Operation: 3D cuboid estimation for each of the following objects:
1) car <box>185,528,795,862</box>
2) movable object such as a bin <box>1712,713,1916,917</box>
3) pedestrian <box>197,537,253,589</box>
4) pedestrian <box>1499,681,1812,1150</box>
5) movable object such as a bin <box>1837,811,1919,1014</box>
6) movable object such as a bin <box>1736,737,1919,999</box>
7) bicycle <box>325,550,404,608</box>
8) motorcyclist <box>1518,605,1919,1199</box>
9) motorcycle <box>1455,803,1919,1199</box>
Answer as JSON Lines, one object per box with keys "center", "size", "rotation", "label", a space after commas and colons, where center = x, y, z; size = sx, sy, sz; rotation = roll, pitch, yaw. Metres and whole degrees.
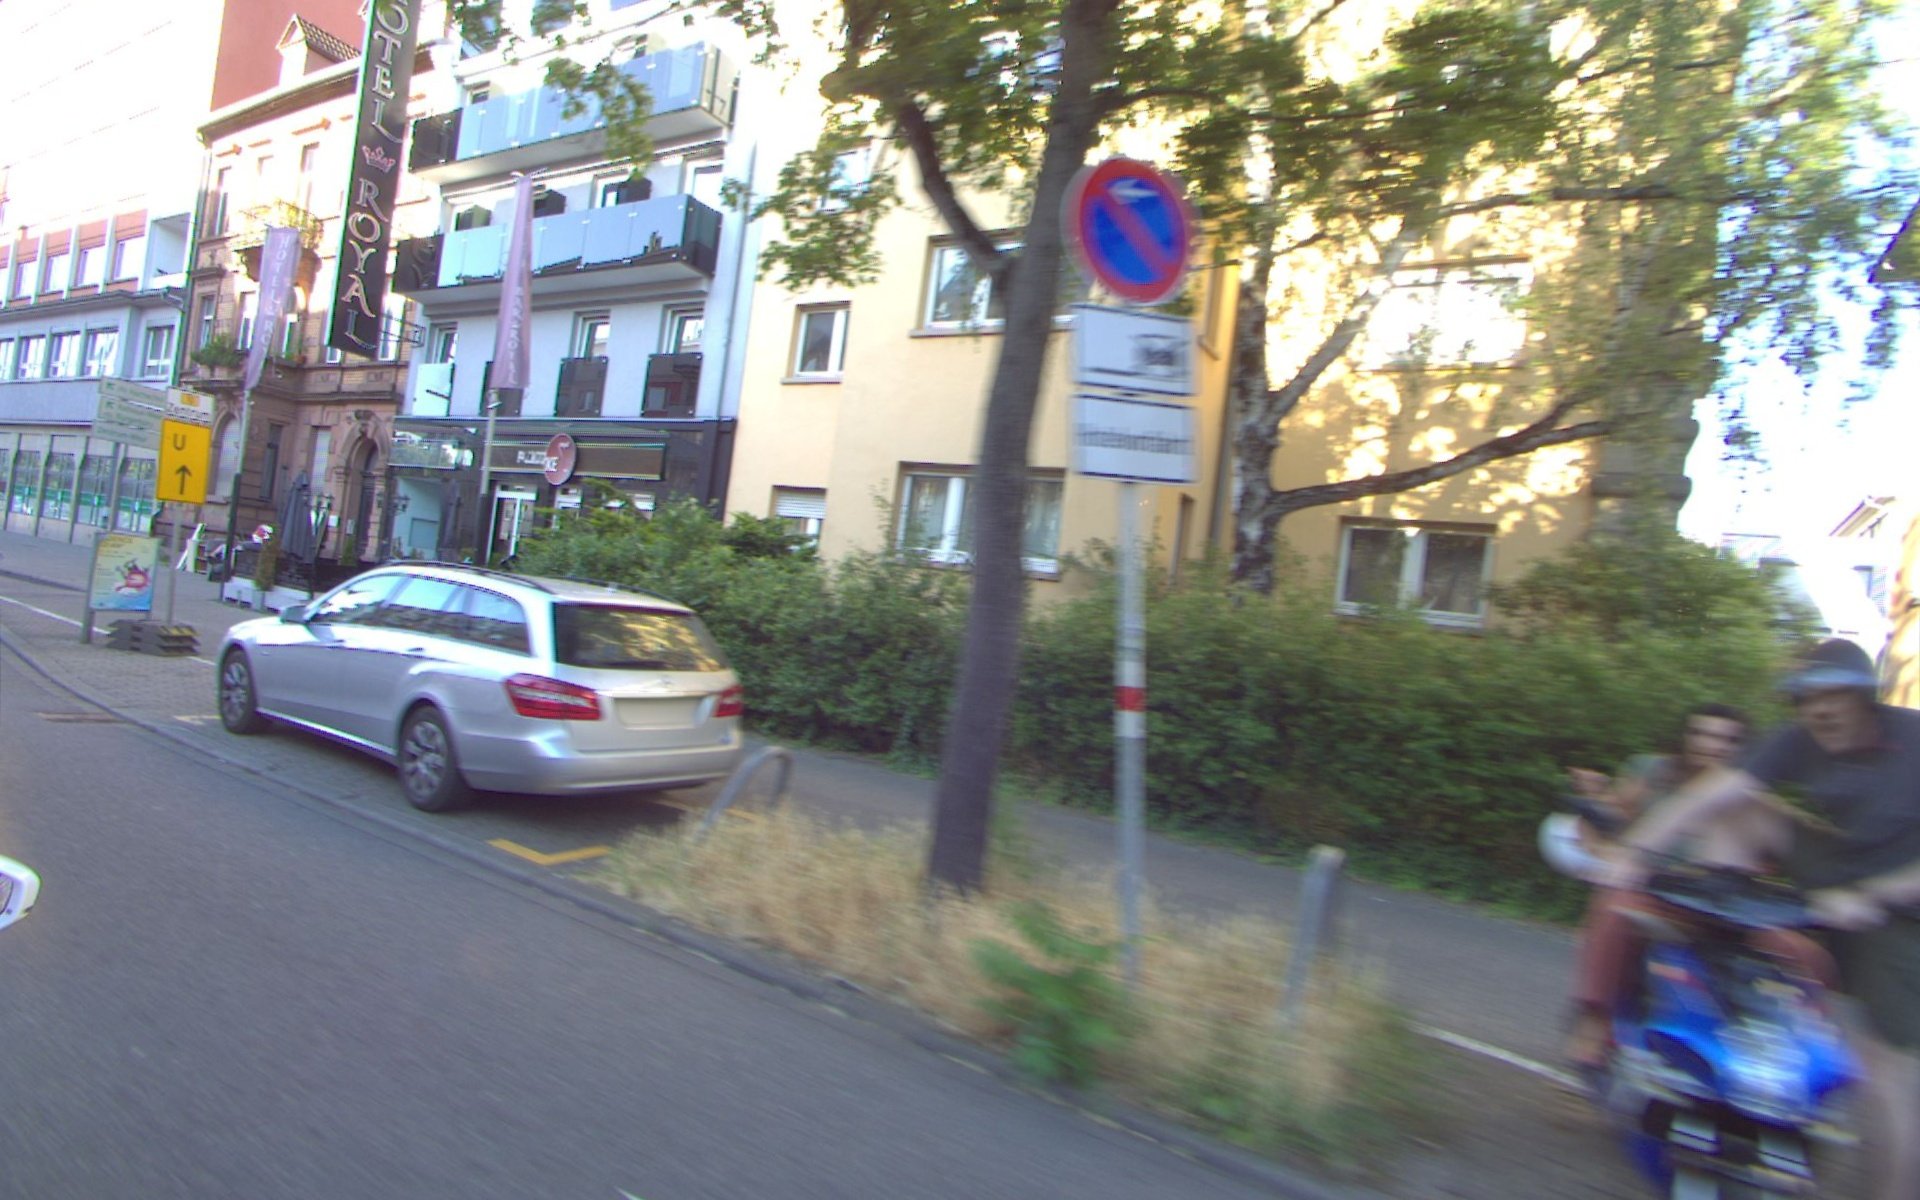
{"center": [-3.689, 0.487, 7.528], "size": [4.757, 1.531, 1.857], "rotation": [7, 0, 34], "label": "car"}
{"center": [7.872, 1.929, 9.357], "size": [0.976, 1.574, 1.158], "rotation": [7, 0, 22], "label": "movable object such as a bin"}
{"center": [-17.093, -0.869, 23.399], "size": [0.930, 1.056, 0.691], "rotation": [7, -1, 35], "label": "pedestrian"}
{"center": [2.456, 1.060, 3.627], "size": [0.691, 1.447, 0.440], "rotation": [7, 0, 21], "label": "pedestrian"}
{"center": [5.665, 1.859, 5.992], "size": [0.541, 1.071, 0.493], "rotation": [7, 0, 44], "label": "movable object such as a bin"}
{"center": [6.145, 1.763, 6.918], "size": [1.249, 1.459, 0.982], "rotation": [8, -1, -44], "label": "movable object such as a bin"}
{"center": [-12.547, -0.418, 21.234], "size": [0.479, 1.125, 1.425], "rotation": [7, 1, 15], "label": "bicycle"}
{"center": [2.396, 0.998, 2.912], "size": [1.068, 1.799, 0.738], "rotation": [7, -1, 21], "label": "motorcyclist"}
{"center": [2.209, 1.370, 3.207], "size": [0.805, 1.083, 1.933], "rotation": [7, -1, 20], "label": "motorcycle"}
